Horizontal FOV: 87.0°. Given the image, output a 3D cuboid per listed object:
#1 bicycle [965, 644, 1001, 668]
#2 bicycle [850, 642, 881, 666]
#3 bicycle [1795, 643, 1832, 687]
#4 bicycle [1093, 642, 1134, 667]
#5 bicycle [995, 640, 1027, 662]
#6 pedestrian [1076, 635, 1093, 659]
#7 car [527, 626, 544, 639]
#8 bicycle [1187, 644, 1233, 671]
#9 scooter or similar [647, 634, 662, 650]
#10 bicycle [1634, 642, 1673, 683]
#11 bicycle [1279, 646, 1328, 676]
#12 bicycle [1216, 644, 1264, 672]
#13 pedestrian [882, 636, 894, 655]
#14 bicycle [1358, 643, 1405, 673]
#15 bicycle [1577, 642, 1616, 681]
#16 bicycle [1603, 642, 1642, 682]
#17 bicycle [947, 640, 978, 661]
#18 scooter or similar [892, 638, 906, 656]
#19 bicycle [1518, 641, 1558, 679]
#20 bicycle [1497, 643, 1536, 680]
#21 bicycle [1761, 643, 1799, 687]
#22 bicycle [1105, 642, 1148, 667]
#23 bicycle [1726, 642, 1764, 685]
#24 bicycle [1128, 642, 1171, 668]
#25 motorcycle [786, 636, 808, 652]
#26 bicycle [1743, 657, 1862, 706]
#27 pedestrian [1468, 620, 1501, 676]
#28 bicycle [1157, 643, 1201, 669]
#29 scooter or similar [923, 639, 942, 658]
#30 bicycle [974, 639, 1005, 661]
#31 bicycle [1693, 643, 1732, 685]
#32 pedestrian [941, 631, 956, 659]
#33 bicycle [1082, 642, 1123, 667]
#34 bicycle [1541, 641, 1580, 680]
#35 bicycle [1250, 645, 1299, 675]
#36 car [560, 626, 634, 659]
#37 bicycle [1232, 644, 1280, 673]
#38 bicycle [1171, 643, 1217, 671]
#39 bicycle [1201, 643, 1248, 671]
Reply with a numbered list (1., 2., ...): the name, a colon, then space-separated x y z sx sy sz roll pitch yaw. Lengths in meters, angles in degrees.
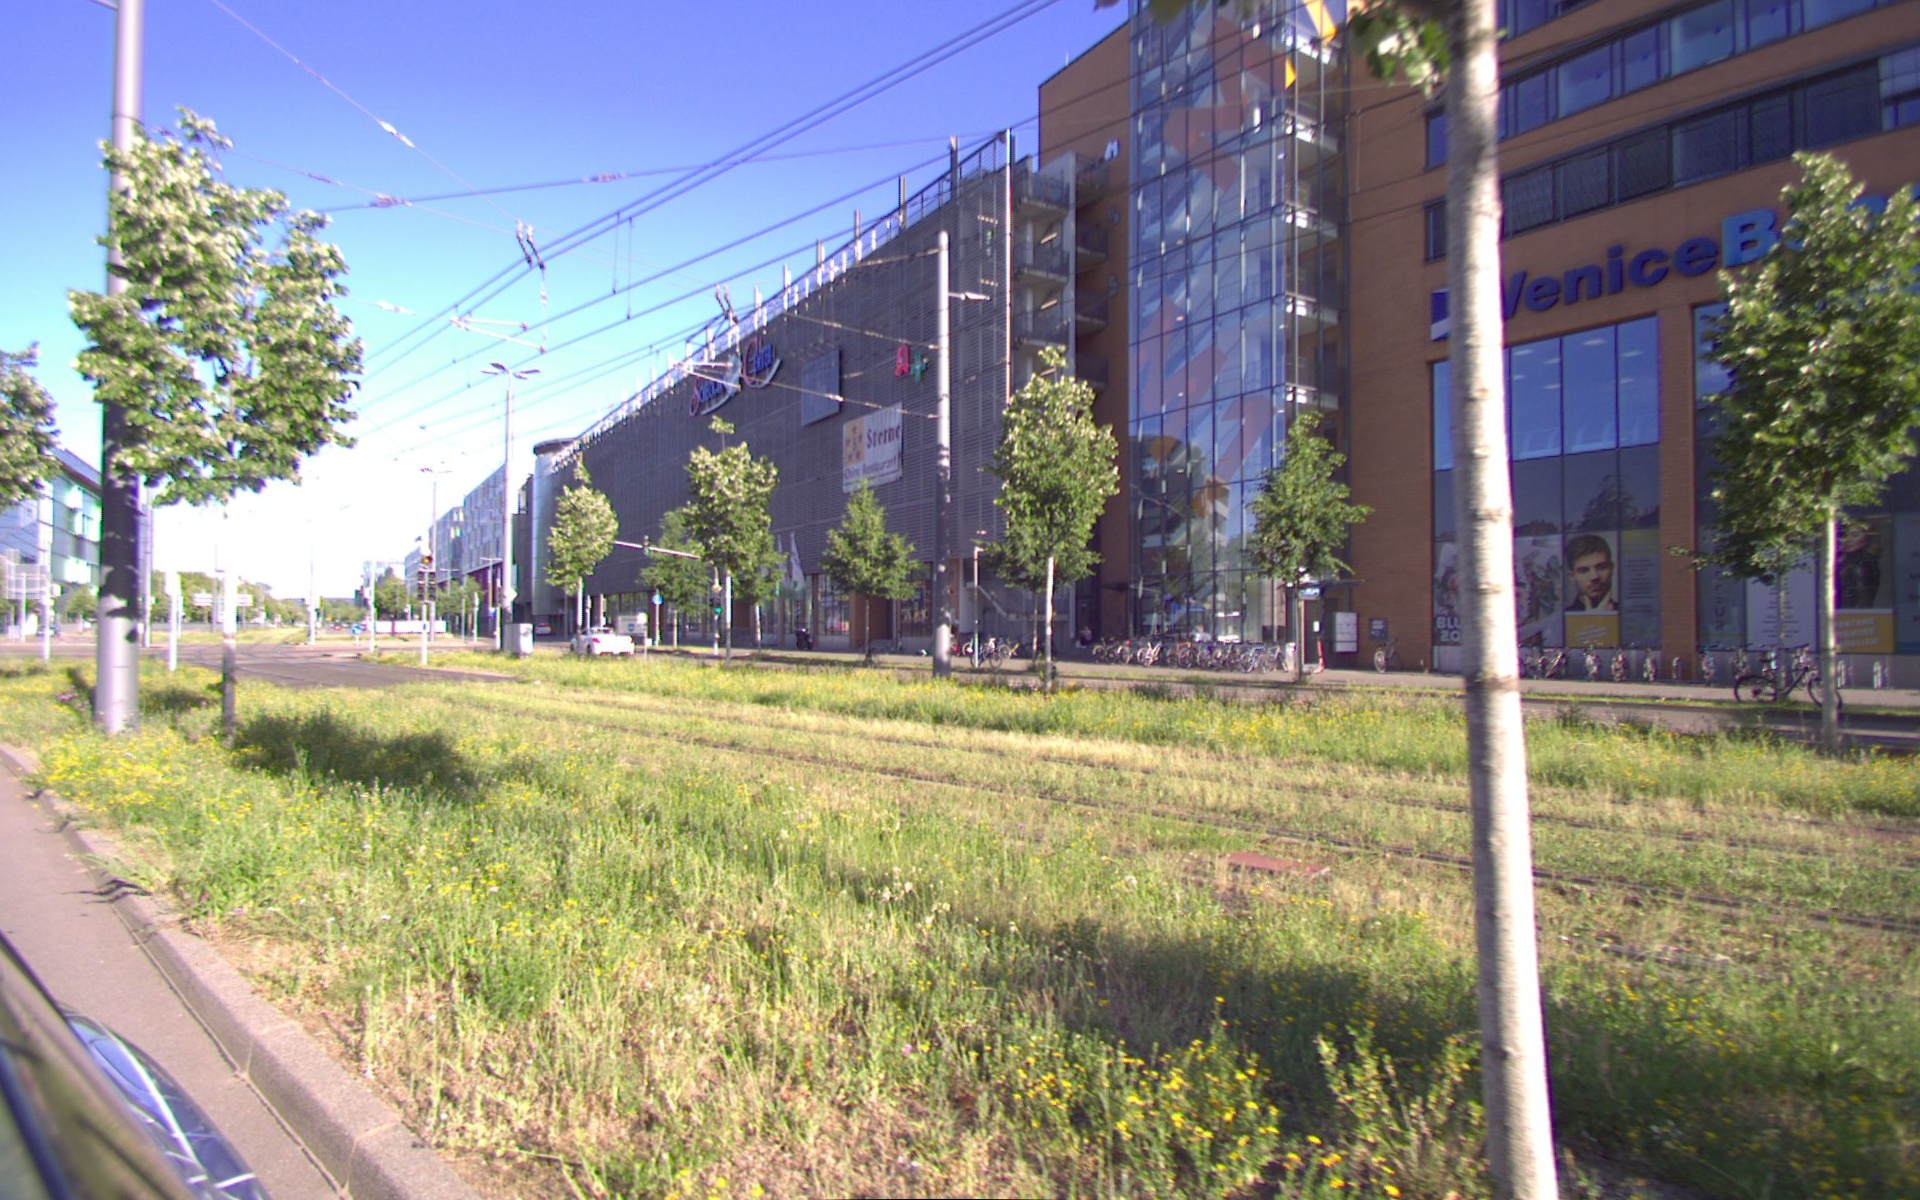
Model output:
1. bicycle: 0.867 2.152 38.842 0.380 0.875 1.775 1 -2 -37
2. bicycle: -3.860 2.190 41.391 0.380 0.930 1.775 1 -2 -37
3. bicycle: 21.589 1.621 25.588 1.744 1.057 0.491 1 -2 -43
4. bicycle: 6.048 2.128 39.813 1.741 0.933 0.492 1 -2 -34
5. bicycle: 2.216 2.204 44.047 1.377 0.933 0.463 1 -2 -34
6. pedestrian: 5.568 2.109 45.313 0.619 1.063 0.450 1 -2 -37
7. car: -49.057 3.748 116.902 1.663 1.382 3.602 1 -1 -25
8. bicycle: 8.910 2.042 36.006 1.741 0.933 0.566 1 -2 -34
9. scooter or similar: -20.717 2.845 68.629 1.363 1.050 0.430 -1 -1 45
10. bicycle: 19.002 1.694 27.717 1.744 1.057 0.491 1 -2 -43
11. bicycle: 11.111 1.959 32.700 1.741 0.933 0.566 1 -2 -34
12. bicycle: 9.650 1.994 34.865 1.741 0.933 0.566 1 -2 -34
13. pedestrian: -3.974 2.493 55.826 0.557 1.046 0.425 1 -2 -27
14. bicycle: 14.029 1.912 33.675 1.741 0.933 0.566 1 -2 -34
15. bicycle: 18.107 1.736 28.785 1.744 1.057 0.491 1 -2 -43
16. bicycle: 18.538 1.727 28.293 1.744 1.057 0.491 1 -2 -43
17. bicycle: 0.106 2.294 45.978 1.377 0.933 0.463 1 -2 -34
18. scooter or similar: -3.155 2.425 52.089 0.286 0.900 0.904 1 -2 -33
19. bicycle: 17.129 1.758 29.973 1.744 1.057 0.491 1 -2 -43
20. bicycle: 16.718 1.821 30.383 1.744 1.057 0.491 1 -2 -43
21. bicycle: 20.864 1.633 25.748 1.744 1.057 0.491 1 -2 -43
22. bicycle: 6.454 2.119 39.261 1.741 0.933 0.566 1 -2 -34
23. bicycle: 20.394 1.643 26.286 1.744 1.057 0.491 1 -2 -43
24. bicycle: 7.166 2.072 38.297 1.741 0.933 0.492 1 -2 -34
25. motorcycle: -9.664 2.599 59.989 0.421 0.927 2.030 1 -2 -34
26. bicycle: 16.544 1.582 19.917 1.770 0.875 0.458 -1 -2 41
27. pedestrian: 15.875 1.434 30.635 0.736 1.681 0.676 1 -2 -44
28. bicycle: 8.050 2.049 37.165 1.741 0.933 0.492 1 -2 -34
29. scooter or similar: -1.319 2.347 48.738 0.889 0.900 0.290 0 -2 4
30. bicycle: 1.319 2.224 45.166 1.377 0.933 0.463 1 -2 -34
31. bicycle: 19.898 1.675 26.758 1.744 1.057 0.491 1 -2 -43
32. pedestrian: -0.544 2.110 47.388 0.442 1.299 0.631 1 -2 -37
33. bicycle: 5.682 2.157 40.358 1.741 0.933 0.492 1 -2 -34
34. bicycle: 17.529 1.749 29.533 1.744 1.057 0.491 1 -2 -43
35. bicycle: 10.461 1.975 33.624 1.741 0.933 0.566 1 -2 -34
36. car: -15.785 1.809 43.890 1.782 1.338 4.414 2 -2 -37
37. bicycle: 10.026 1.985 34.309 1.741 0.933 0.566 1 -2 -34
38. bicycle: 8.459 2.053 36.600 1.741 0.933 0.566 1 -2 -34
39. bicycle: 9.279 2.003 35.458 1.741 0.933 0.566 1 -2 -34
